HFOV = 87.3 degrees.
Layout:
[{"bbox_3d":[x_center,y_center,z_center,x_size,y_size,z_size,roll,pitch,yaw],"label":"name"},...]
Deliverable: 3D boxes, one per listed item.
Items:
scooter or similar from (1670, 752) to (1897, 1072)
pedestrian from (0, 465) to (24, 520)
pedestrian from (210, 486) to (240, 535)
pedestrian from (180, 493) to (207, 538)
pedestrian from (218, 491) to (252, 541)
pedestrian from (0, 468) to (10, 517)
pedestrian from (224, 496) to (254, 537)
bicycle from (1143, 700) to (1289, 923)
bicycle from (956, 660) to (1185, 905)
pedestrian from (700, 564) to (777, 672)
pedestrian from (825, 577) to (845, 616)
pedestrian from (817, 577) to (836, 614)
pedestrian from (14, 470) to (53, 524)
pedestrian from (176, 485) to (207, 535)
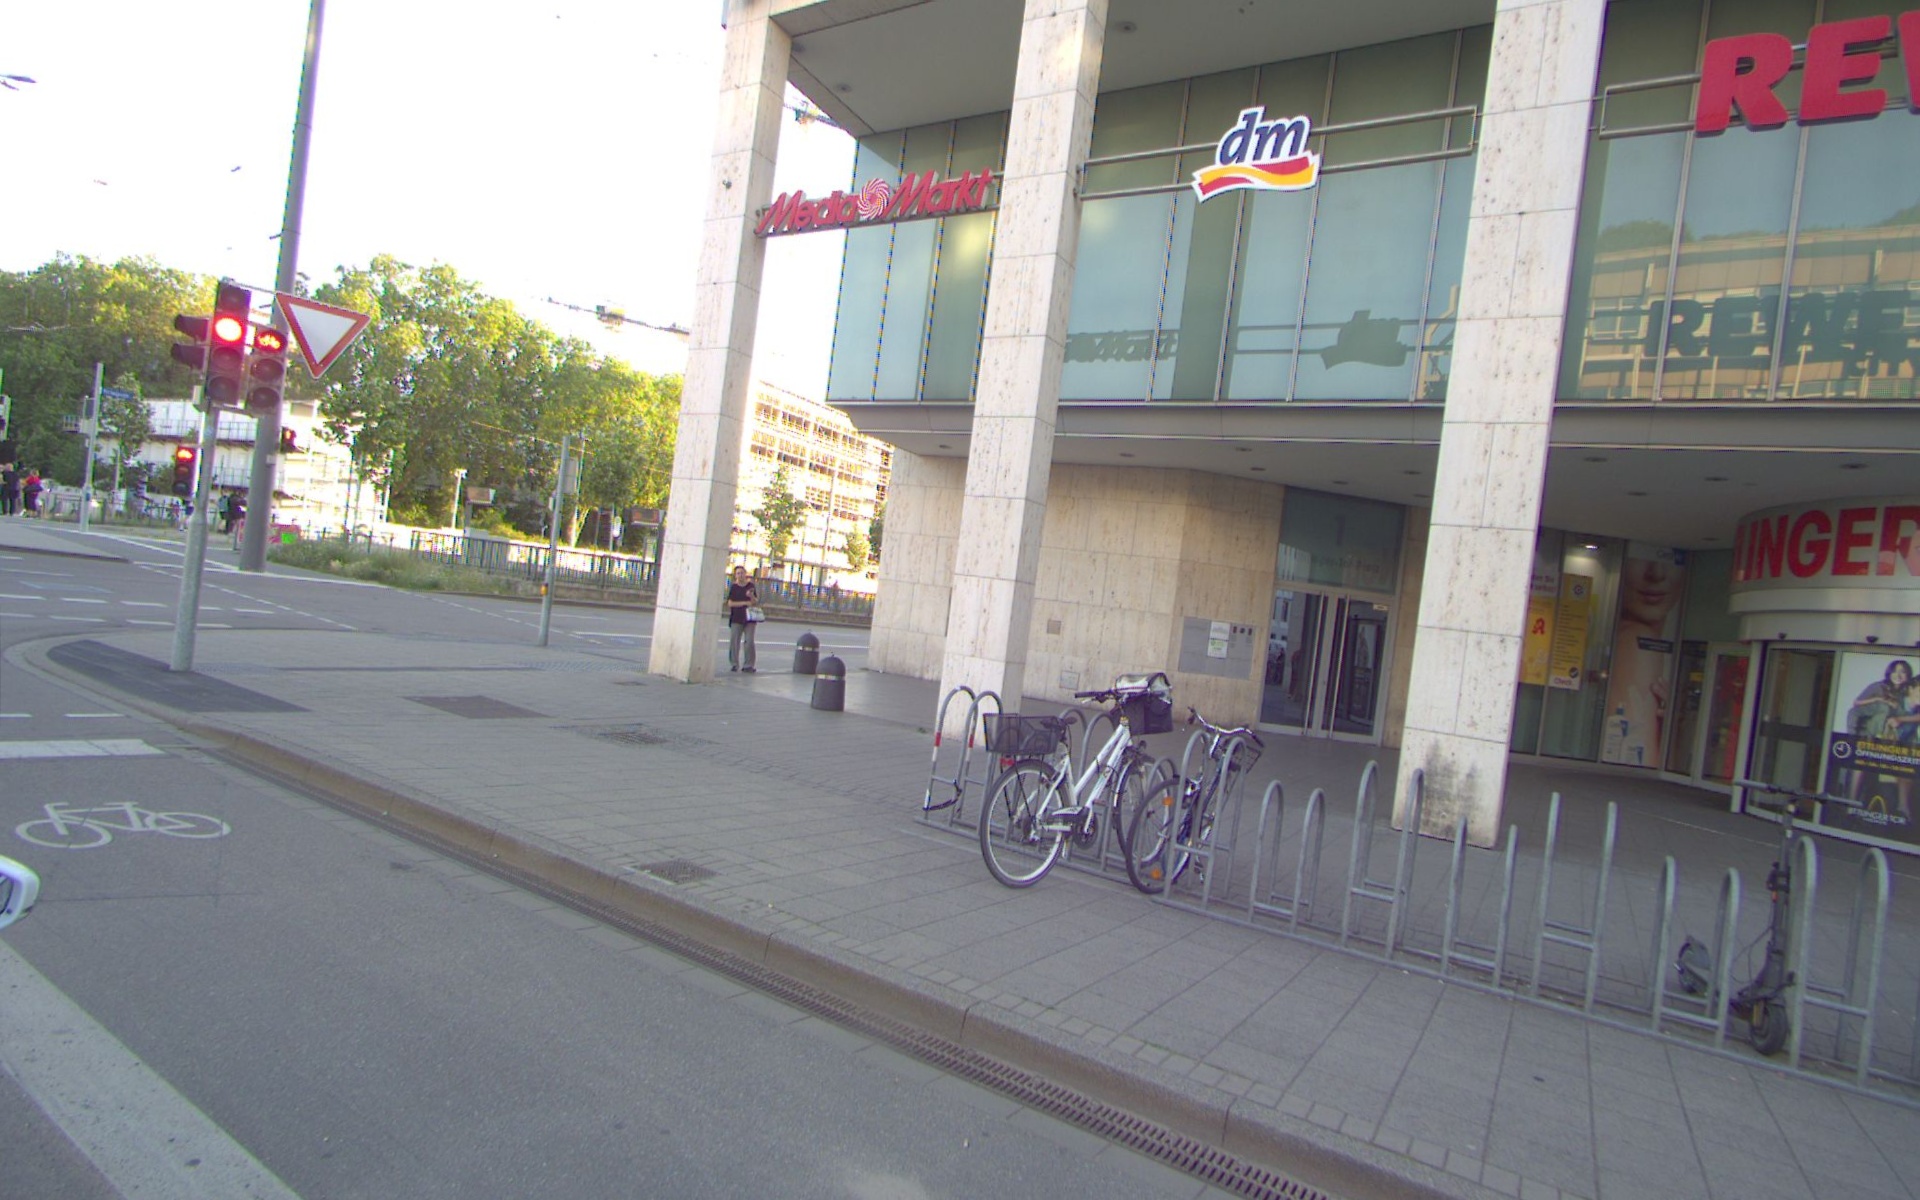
[{"bbox_3d":[3.987,1.438,4.958,0.484,1.214,1.196,8,1,27],"label":"scooter or similar"},{"bbox_3d":[-32.824,-3.713,34.587,0.803,1.814,0.790,7,1,-44],"label":"pedestrian"},{"bbox_3d":[-28.011,-3.403,38.346,0.708,1.746,0.660,7,1,-41],"label":"pedestrian"},{"bbox_3d":[-29.481,-3.254,38.692,0.527,1.612,0.571,8,1,32],"label":"pedestrian"},{"bbox_3d":[-27.222,-3.138,37.774,0.701,1.746,0.667,8,1,30],"label":"pedestrian"},{"bbox_3d":[-33.982,-3.815,35.459,0.570,1.699,0.631,7,1,-44],"label":"pedestrian"},{"bbox_3d":[-28.166,-3.264,39.320,0.704,1.459,0.675,8,1,39],"label":"pedestrian"},{"bbox_3d":[1.674,1.241,6.375,0.474,1.092,1.773,8,0,24],"label":"bicycle"},{"bbox_3d":[0.700,1.007,5.927,0.540,1.198,1.479,8,1,36],"label":"bicycle"},{"bbox_3d":[-3.618,0.305,16.458,0.696,1.659,0.791,8,1,33],"label":"pedestrian"},{"bbox_3d":[-6.980,-0.192,56.234,0.631,2.039,0.626,8,1,28],"label":"pedestrian"},{"bbox_3d":[-7.518,-0.248,56.604,0.559,2.039,0.575,8,1,28],"label":"pedestrian"},{"bbox_3d":[-32.693,-3.631,35.507,0.696,1.756,0.843,8,1,44],"label":"pedestrian"},{"bbox_3d":[-29.080,-3.405,38.062,0.703,1.746,0.665,8,1,43],"label":"pedestrian"}]
